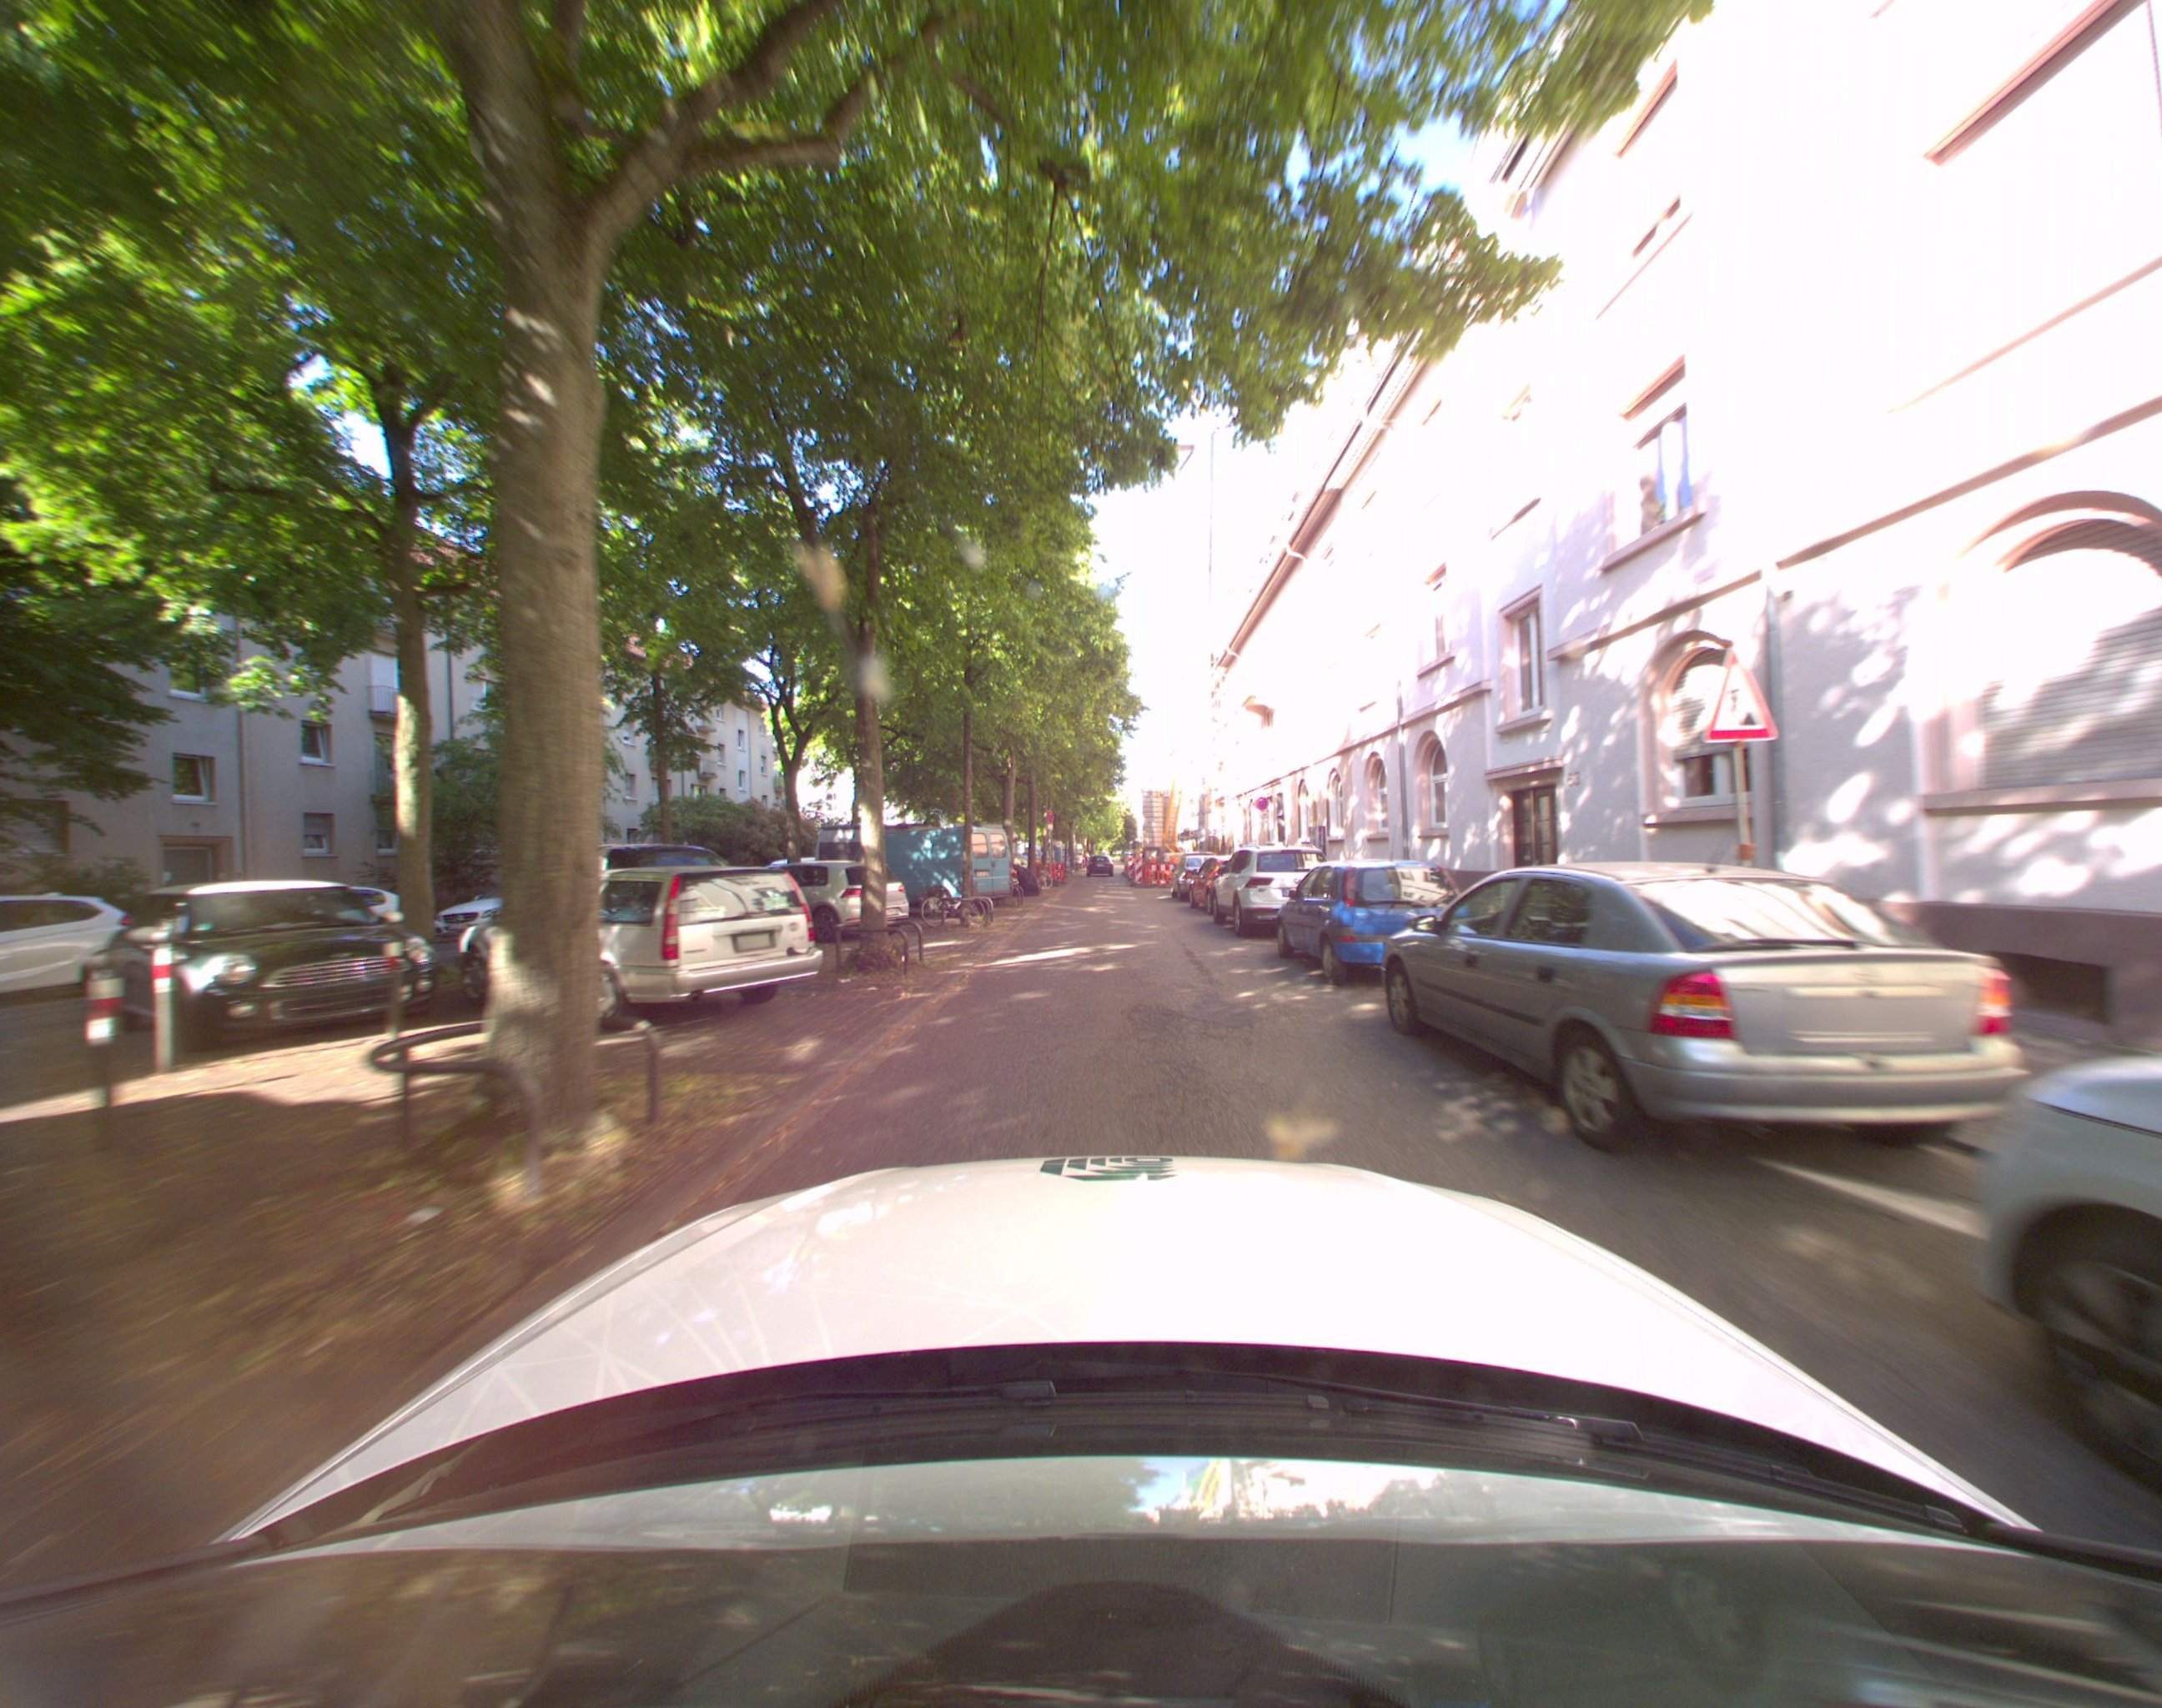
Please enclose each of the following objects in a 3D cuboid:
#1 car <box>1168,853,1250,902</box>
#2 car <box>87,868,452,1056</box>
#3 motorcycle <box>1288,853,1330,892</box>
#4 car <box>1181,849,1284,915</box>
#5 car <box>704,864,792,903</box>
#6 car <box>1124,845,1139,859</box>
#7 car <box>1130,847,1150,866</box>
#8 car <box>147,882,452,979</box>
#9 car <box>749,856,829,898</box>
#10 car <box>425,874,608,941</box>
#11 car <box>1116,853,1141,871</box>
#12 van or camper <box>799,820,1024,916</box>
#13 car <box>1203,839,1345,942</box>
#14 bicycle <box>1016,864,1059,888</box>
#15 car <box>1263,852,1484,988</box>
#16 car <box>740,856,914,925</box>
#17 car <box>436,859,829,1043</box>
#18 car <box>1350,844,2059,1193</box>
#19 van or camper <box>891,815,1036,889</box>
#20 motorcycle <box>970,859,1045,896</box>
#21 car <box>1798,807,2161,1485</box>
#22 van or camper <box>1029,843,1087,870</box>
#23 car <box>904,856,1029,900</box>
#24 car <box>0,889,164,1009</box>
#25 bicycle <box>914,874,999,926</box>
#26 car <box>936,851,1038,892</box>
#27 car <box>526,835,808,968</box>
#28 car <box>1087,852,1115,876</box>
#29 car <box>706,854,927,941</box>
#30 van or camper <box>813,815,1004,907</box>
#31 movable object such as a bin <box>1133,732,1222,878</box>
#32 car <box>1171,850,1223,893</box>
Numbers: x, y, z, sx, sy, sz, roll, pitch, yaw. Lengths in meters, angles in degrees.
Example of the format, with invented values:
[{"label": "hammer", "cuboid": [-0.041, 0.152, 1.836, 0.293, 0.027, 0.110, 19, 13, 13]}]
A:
[{"label": "car", "cuboid": [4.036, 0.695, 26.423, 1.987, 1.409, 4.501, -1, 0, 1]}, {"label": "car", "cuboid": [-8.026, 0.900, 8.015, 3.527, 1.424, 1.686, -2, 0, 31]}, {"label": "motorcycle", "cuboid": [7.476, 0.590, 26.786, 0.547, 1.193, 1.831, -2, 0, -10]}, {"label": "car", "cuboid": [3.875, 0.658, 21.431, 1.786, 1.523, 3.960, -2, 0, -3]}, {"label": "car", "cuboid": [-13.849, 1.197, 34.146, 1.809, 1.455, 3.970, -2, 0, 3]}, {"label": "car", "cuboid": [6.656, -0.230, 107.770, 1.791, 1.800, 3.586, -2, 0, 1]}, {"label": "car", "cuboid": [5.865, 0.201, 81.329, 1.791, 1.800, 3.586, -2, 0, 1]}, {"label": "car", "cuboid": [-14.787, 1.361, 15.825, 1.657, 1.424, 4.298, -2, 0, 2]}, {"label": "car", "cuboid": [-13.997, 1.038, 39.328, 1.810, 1.803, 4.849, -3, 0, 3]}, {"label": "car", "cuboid": [-14.697, 1.330, 21.571, 1.657, 1.424, 4.365, -2, 0, 2]}, {"label": "car", "cuboid": [3.848, 0.637, 66.633, 1.791, 1.385, 3.586, -2, 0, 1]}, {"label": "van or camper", "cuboid": [-4.468, 0.393, 21.390, 5.447, 2.275, 2.233, -2, 0, 25]}, {"label": "car", "cuboid": [3.604, 0.605, 16.077, 1.809, 1.674, 4.675, -2, 0, 2]}, {"label": "bicycle", "cuboid": [-1.922, 0.973, 35.980, 1.879, 1.006, 0.433, -2, 0, 25]}, {"label": "car", "cuboid": [3.561, 0.701, 10.641, 1.611, 1.413, 3.790, -2, 0, 2]}, {"label": "car", "cuboid": [-6.020, 0.826, 19.187, 3.947, 1.431, 1.732, -2, 0, 32]}, {"label": "car", "cuboid": [-4.823, 0.835, 8.525, 4.431, 1.443, 1.744, -1, 0, 34]}, {"label": "car", "cuboid": [3.295, 0.680, 5.461, 1.625, 1.413, 4.089, -2, 0, 0]}, {"label": "van or camper", "cuboid": [-5.636, -0.036, 38.782, 6.592, 3.240, 2.511, -2, 0, 30]}, {"label": "motorcycle", "cuboid": [-2.665, 0.848, 29.543, 2.534, 1.258, 0.765, -2, 0, 9]}, {"label": "car", "cuboid": [3.231, 0.643, 0.946, 1.625, 1.534, 3.592, -2, 0, 0]}, {"label": "van or camper", "cuboid": [-2.312, 0.245, 80.411, 5.280, 2.474, 2.308, -2, 0, 34]}, {"label": "car", "cuboid": [-3.944, 0.823, 27.976, 3.915, 1.414, 1.834, -2, 0, 29]}, {"label": "car", "cuboid": [-15.115, 1.324, 10.747, 1.657, 1.499, 3.771, -2, 0, 2]}, {"label": "bicycle", "cuboid": [-2.698, 0.974, 17.668, 1.729, 1.006, 0.507, -2, 0, -29]}, {"label": "car", "cuboid": [-4.025, 0.746, 34.778, 3.916, 1.629, 1.834, -2, 0, 27]}, {"label": "car", "cuboid": [-6.557, 0.658, 12.759, 4.502, 1.764, 1.822, -2, 0, 32]}, {"label": "car", "cuboid": [1.319, 0.674, 55.202, 1.791, 1.503, 3.586, -2, 0, 1]}, {"label": "car", "cuboid": [-5.133, 0.792, 15.741, 3.906, 1.443, 1.858, -2, 0, 30]}, {"label": "van or camper", "cuboid": [-5.499, 0.258, 25.664, 5.811, 2.637, 2.269, -2, 0, 31]}, {"label": "movable object such as a bin", "cuboid": [4.658, -2.238, 39.430, 3.445, 6.759, 2.383, -1, 0, 34]}, {"label": "car", "cuboid": [4.388, 0.617, 31.044, 1.586, 1.530, 2.781, -1, 0, 1]}]
